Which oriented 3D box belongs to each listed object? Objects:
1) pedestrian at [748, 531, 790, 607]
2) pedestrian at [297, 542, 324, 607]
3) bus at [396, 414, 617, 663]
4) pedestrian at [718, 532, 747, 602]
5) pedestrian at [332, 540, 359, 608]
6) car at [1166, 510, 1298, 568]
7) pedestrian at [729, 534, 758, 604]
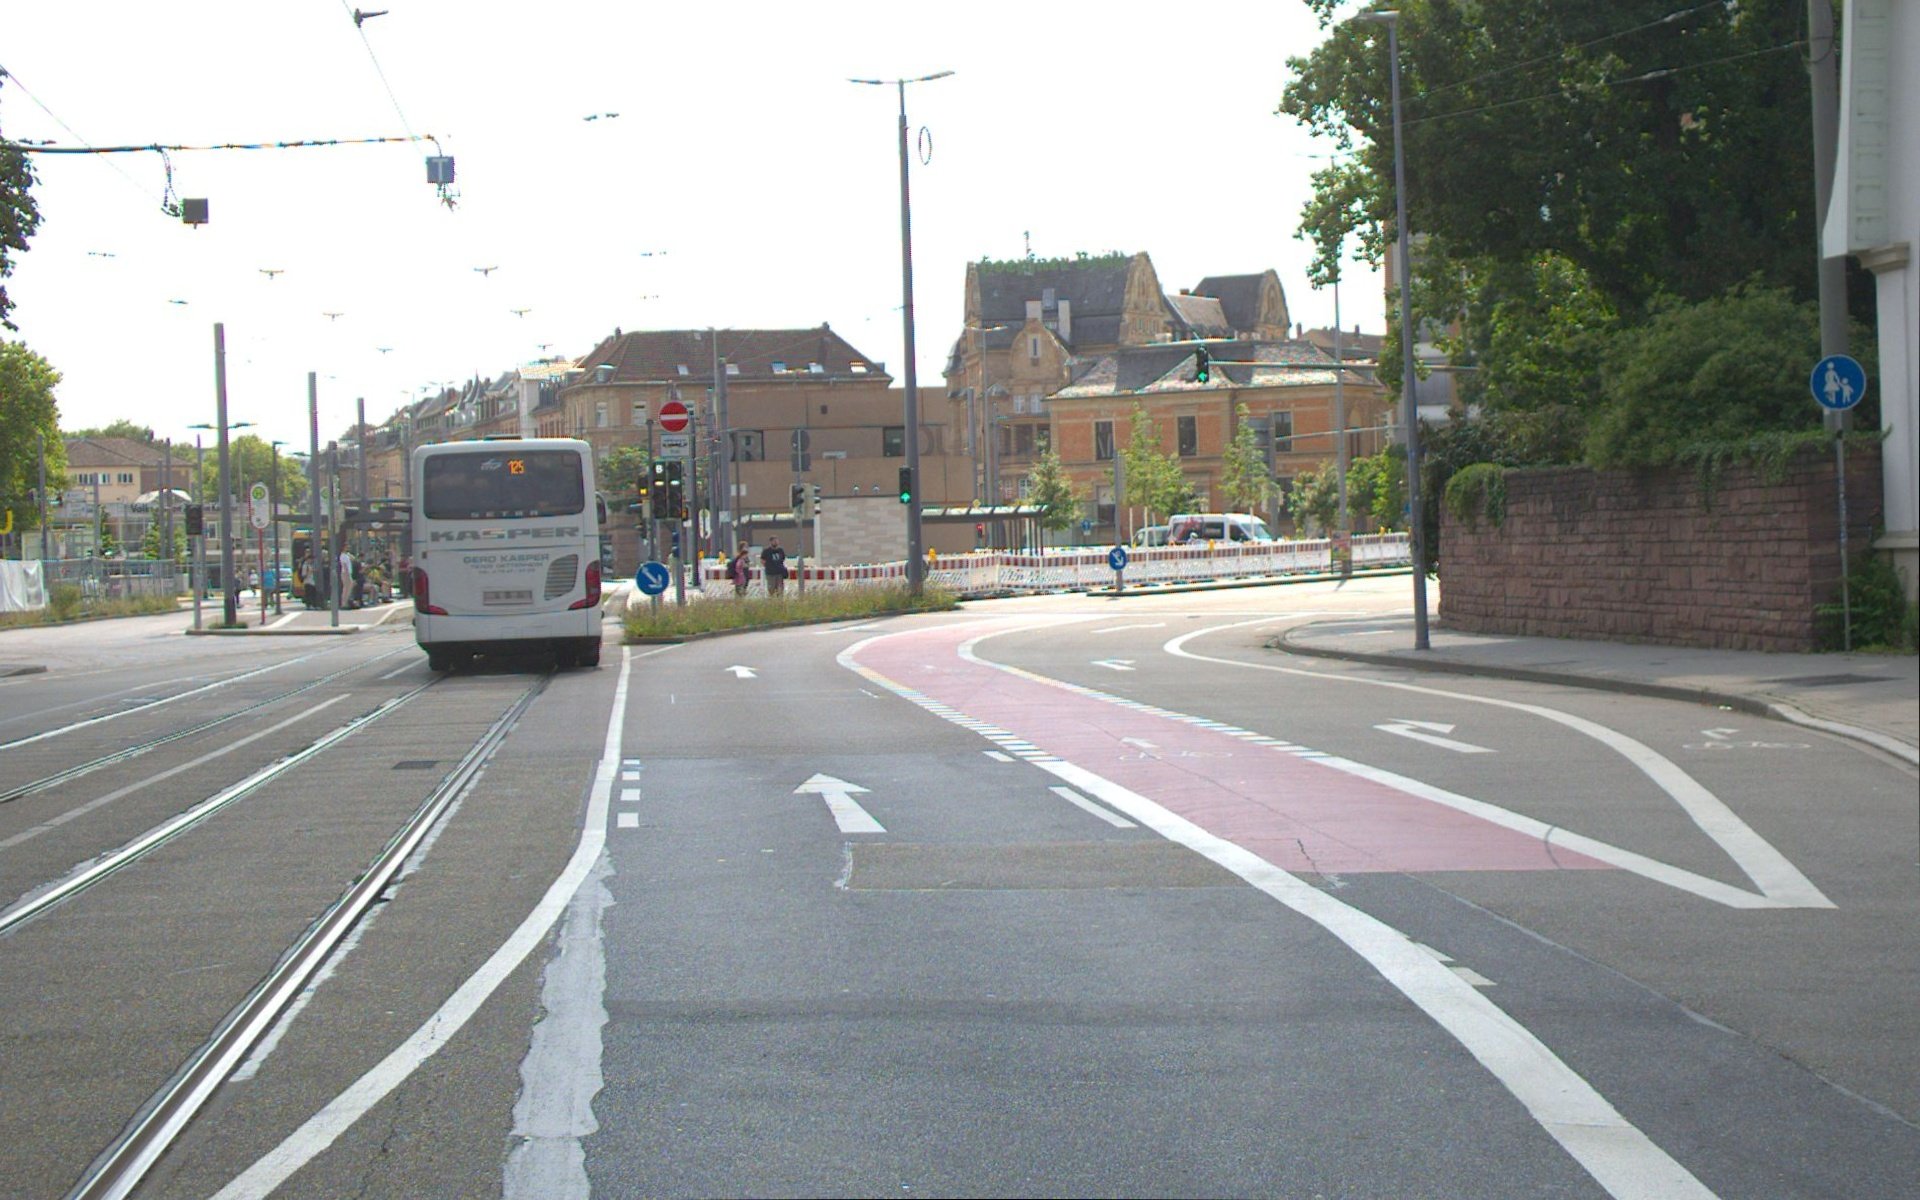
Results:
[{"bbox_3d":[-4.803,-0.791,86.533,0.791,1.878,0.613,-2,1,-36],"label":"pedestrian"},{"bbox_3d":[-19.162,-0.747,101.432,0.611,1.878,0.794,-2,1,-5],"label":"pedestrian"},{"bbox_3d":[-6.752,-0.860,52.431,2.917,3.317,12.208,-1,0,-6],"label":"bus"},{"bbox_3d":[-5.606,-0.828,84.755,0.611,1.701,0.623,-2,1,0],"label":"pedestrian"},{"bbox_3d":[-17.293,-0.744,96.738,0.611,1.878,0.794,-2,1,-5],"label":"pedestrian"},{"bbox_3d":[11.674,-2.601,147.932,2.295,2.311,5.586,-2,1,-41],"label":"car"},{"bbox_3d":[-5.402,-0.771,85.798,0.409,1.730,0.620,-1,1,24],"label":"pedestrian"}]
